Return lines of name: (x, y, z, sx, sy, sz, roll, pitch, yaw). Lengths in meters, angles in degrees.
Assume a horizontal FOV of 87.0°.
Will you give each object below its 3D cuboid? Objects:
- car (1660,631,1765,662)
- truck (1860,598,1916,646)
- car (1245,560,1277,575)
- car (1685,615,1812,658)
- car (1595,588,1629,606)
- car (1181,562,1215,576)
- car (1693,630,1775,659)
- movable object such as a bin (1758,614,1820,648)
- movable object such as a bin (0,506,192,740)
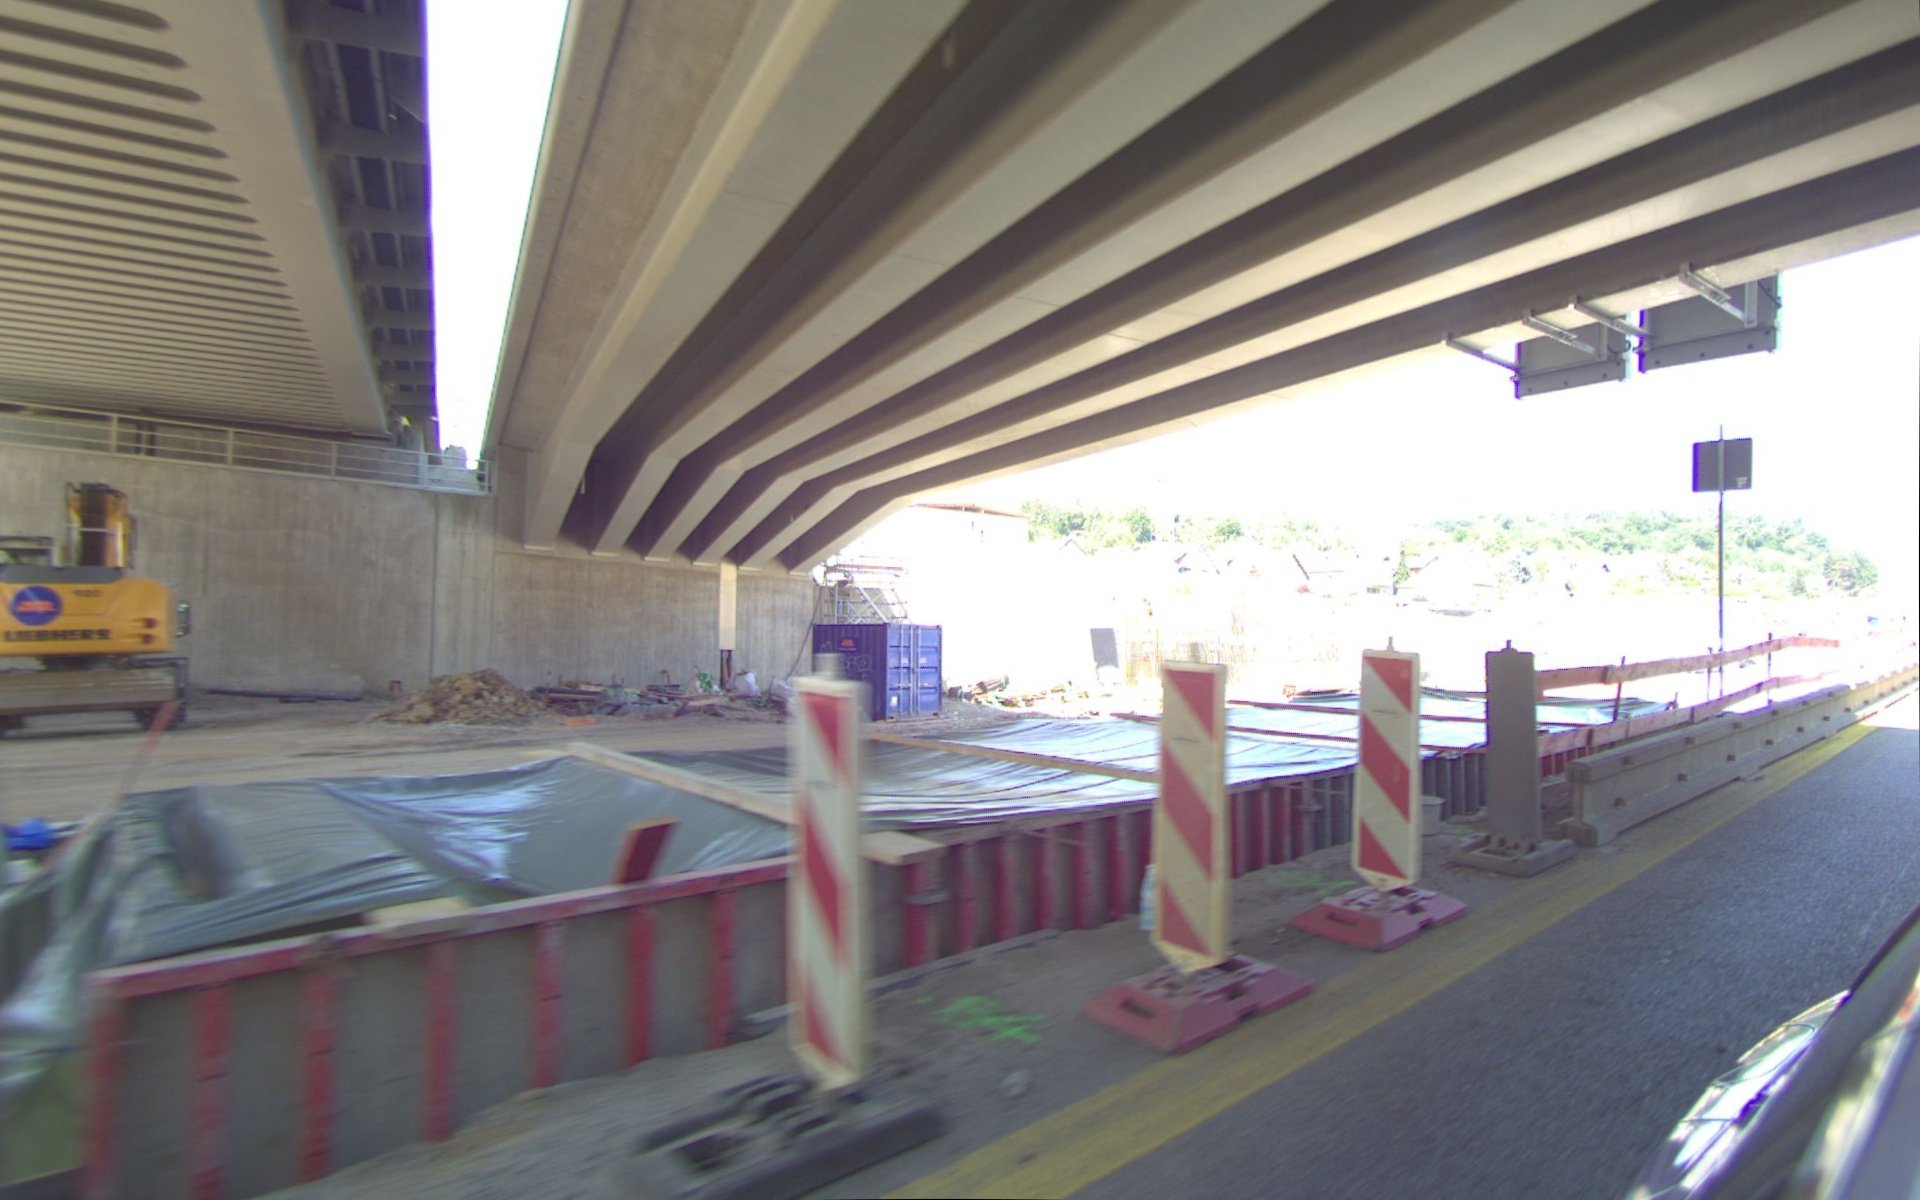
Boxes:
car: (45.720, 2.795, 61.567, 1.689, 1.792, 4.797, 1, -2, -40)
truck: (70.738, 1.611, 77.103, 5.341, 3.447, 2.503, -1, 1, -40)
car: (32.274, -3.504, 108.499, 3.544, 1.504, 1.544, -2, 1, -40)
car: (51.134, 2.414, 65.861, 6.267, 2.615, 2.027, -4, -4, 37)
car: (64.644, -0.303, 100.301, 4.527, 1.623, 1.656, -2, 1, -42)
car: (27.323, -3.540, 116.118, 4.141, 1.504, 1.728, -2, 1, -41)
car: (48.418, 2.758, 63.374, 3.860, 1.707, 1.666, -3, -2, 45)
movable object such as a bin: (73.807, 2.730, 90.116, 3.924, 2.820, 3.270, -1, 1, -35)
movable object such as a bin: (-14.540, 0.372, 16.616, 2.935, 3.329, 4.565, -1, -1, -36)
